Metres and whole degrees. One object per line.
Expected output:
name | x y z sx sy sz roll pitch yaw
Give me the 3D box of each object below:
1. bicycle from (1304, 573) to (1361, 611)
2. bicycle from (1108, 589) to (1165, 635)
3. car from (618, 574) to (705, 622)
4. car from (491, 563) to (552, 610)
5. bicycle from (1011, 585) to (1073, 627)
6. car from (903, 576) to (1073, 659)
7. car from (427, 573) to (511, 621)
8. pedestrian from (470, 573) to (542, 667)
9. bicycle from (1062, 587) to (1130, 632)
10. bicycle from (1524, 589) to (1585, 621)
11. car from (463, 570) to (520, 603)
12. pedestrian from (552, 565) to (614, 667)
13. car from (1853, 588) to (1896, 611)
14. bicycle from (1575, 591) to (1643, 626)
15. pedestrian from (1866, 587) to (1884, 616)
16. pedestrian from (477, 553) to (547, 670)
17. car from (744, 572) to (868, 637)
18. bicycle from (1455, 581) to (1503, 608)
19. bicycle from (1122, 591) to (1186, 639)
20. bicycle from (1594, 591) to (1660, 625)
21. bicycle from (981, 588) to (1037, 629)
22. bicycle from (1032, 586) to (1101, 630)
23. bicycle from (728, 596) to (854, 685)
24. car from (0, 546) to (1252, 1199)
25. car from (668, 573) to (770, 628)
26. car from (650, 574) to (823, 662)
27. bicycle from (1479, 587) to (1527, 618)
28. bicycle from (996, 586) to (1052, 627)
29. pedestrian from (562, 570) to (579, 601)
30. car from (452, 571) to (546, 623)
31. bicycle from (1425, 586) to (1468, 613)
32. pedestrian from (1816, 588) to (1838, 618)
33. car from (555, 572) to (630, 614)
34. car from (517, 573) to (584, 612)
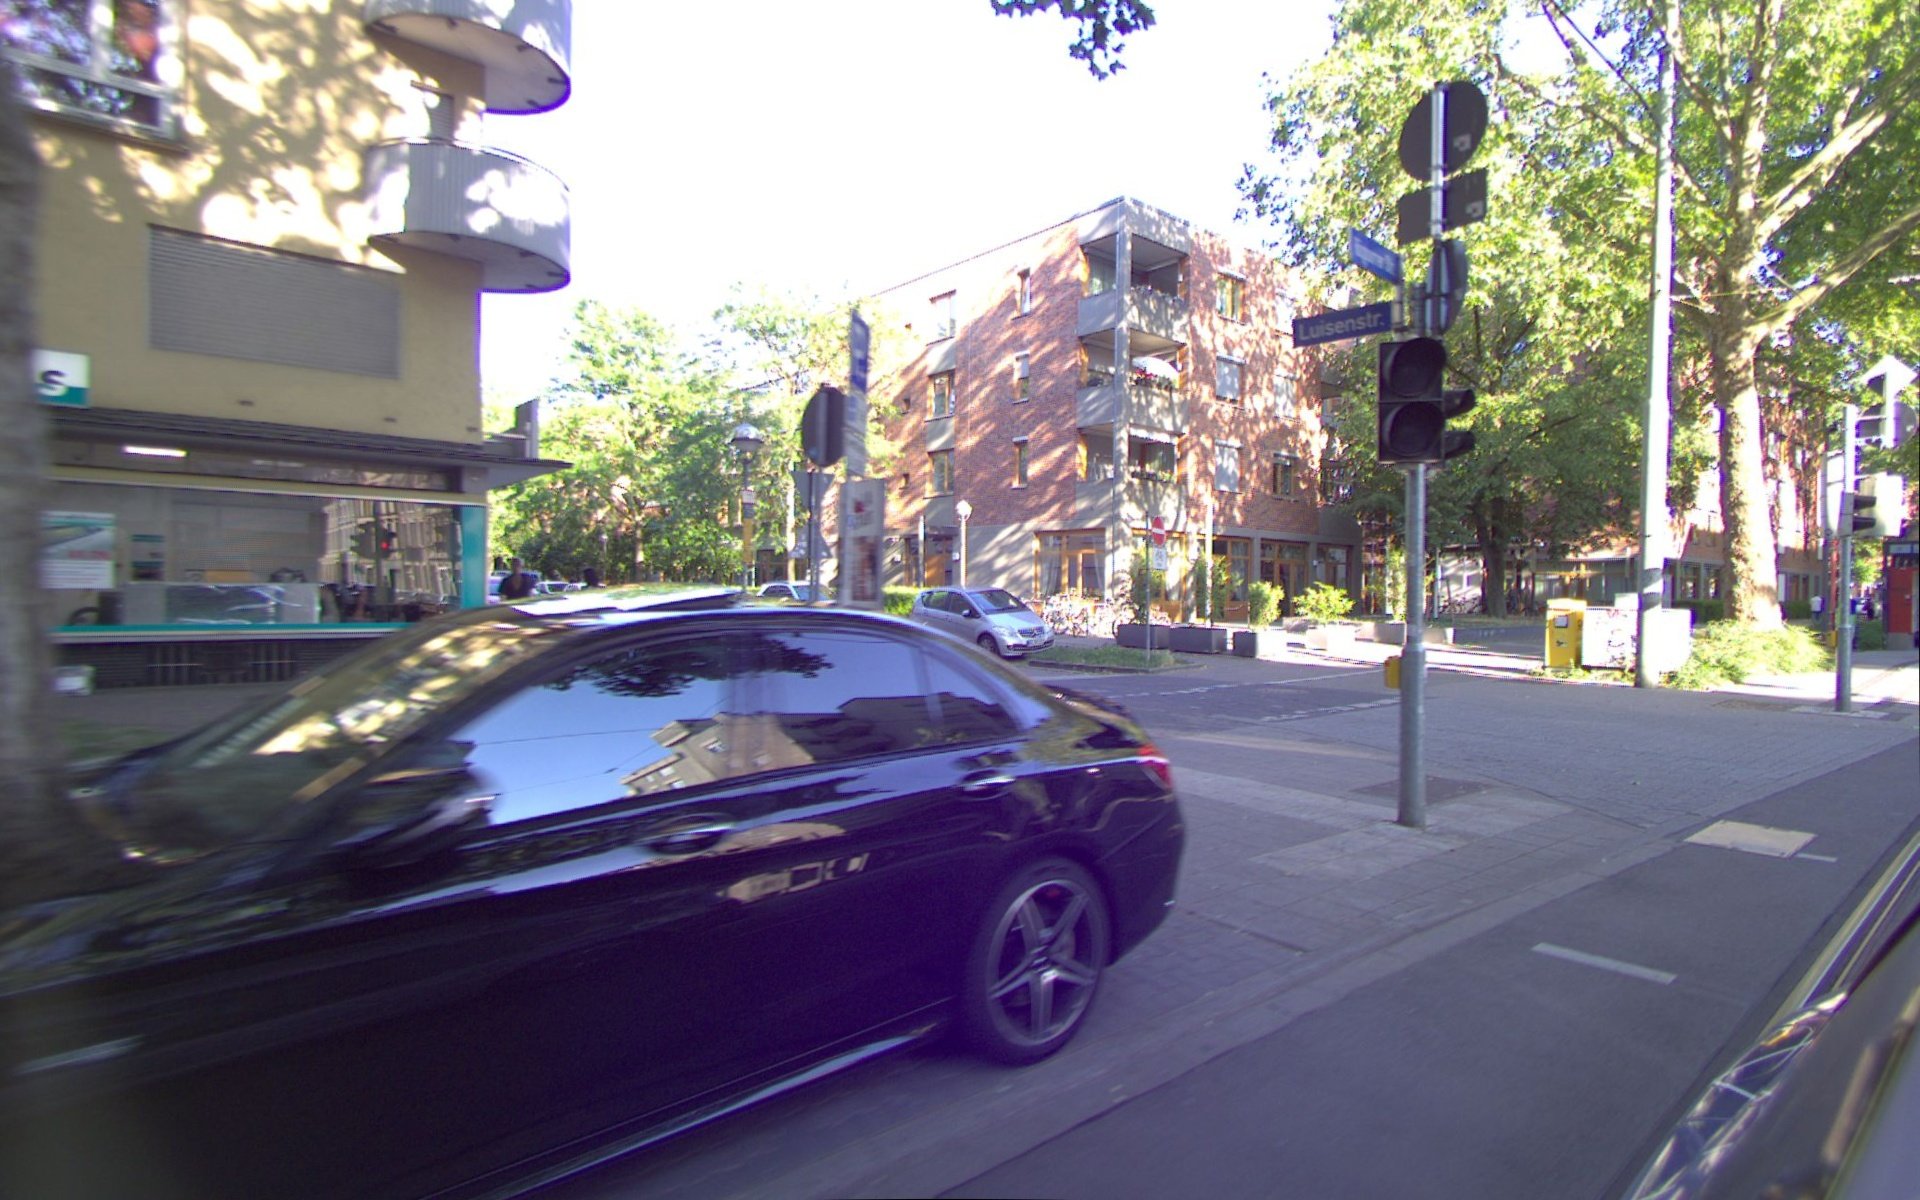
bicycle | 12.283 -0.280 33.449 0.560 1.171 1.939 1 2 -24
bicycle | 4.687 0.305 26.819 1.670 1.171 0.600 -1 3 -45
car | -11.485 -0.118 38.809 1.833 1.714 3.870 0 1 -39
car | -22.092 -0.698 50.933 1.833 2.260 3.870 0 1 -39
bicycle | 2.395 0.156 29.448 1.818 1.171 0.662 0 3 -41
car | 0.566 0.325 23.354 1.833 1.714 3.870 0 1 -39
car | -17.873 -0.143 36.743 1.832 1.572 3.870 3 -1 -39
pedestrian | -7.179 0.295 16.004 0.839 1.432 0.757 1 1 42
bicycle | 3.727 0.248 27.640 1.945 1.171 0.638 0 2 -37
bicycle | 23.763 0.173 40.511 0.561 1.171 2.039 0 3 -34
car | -25.277 -0.734 54.544 1.833 1.714 3.870 0 1 -39
pedestrian | -5.918 0.236 15.914 0.677 1.558 0.703 1 1 1
car | 63.208 -0.027 69.904 3.891 1.527 1.657 0 1 -40
bicycle | 24.536 0.307 38.290 0.562 1.171 2.036 0 3 -39
pedestrian | 55.348 0.089 61.199 0.736 1.712 0.710 0 1 -41
pedestrian | -6.737 0.160 15.233 0.695 1.703 0.656 1 1 23
car | -4.514 0.076 29.354 1.833 1.714 3.870 0 1 -39
bicycle | 24.313 -0.272 47.481 1.930 1.171 0.727 3 2 25
bicycle | 4.909 0.364 25.566 1.666 1.171 0.602 0 2 -37
bicycle | 25.404 0.282 38.588 0.560 1.171 2.041 1 2 -29
bicycle | 1.489 0.244 30.757 1.668 1.171 0.662 0 3 -41
bicycle | 3.023 0.213 28.738 2.014 1.171 0.732 0 3 -40
bicycle | -2.523 0.571 15.051 1.781 1.171 0.738 3 2 29
car | -1.324 0.637 2.837 4.925 1.480 1.767 0 1 -42
car | -8.193 -0.032 34.212 1.833 1.714 3.870 0 1 -39
car | -4.619 0.331 20.570 1.832 1.572 3.870 3 -1 -39
bicycle | 22.562 0.090 42.071 0.561 1.171 1.684 0 2 -34
bicycle | 1.917 0.178 30.165 1.668 1.171 0.662 0 3 -41
pedestrian | -20.780 -0.778 53.989 0.643 1.605 0.772 0 1 -35
car | -15.318 -0.123 33.528 1.832 1.572 3.870 3 -1 -39
bicycle | 22.039 -0.016 45.824 1.997 1.171 0.709 0 2 -30
pedestrian | 48.110 0.164 56.173 0.901 1.680 0.768 0 1 -40
car | -15.758 -0.323 43.262 1.833 1.714 3.870 0 1 -39
car | -19.133 -0.384 47.226 1.833 1.714 3.870 0 1 -39
